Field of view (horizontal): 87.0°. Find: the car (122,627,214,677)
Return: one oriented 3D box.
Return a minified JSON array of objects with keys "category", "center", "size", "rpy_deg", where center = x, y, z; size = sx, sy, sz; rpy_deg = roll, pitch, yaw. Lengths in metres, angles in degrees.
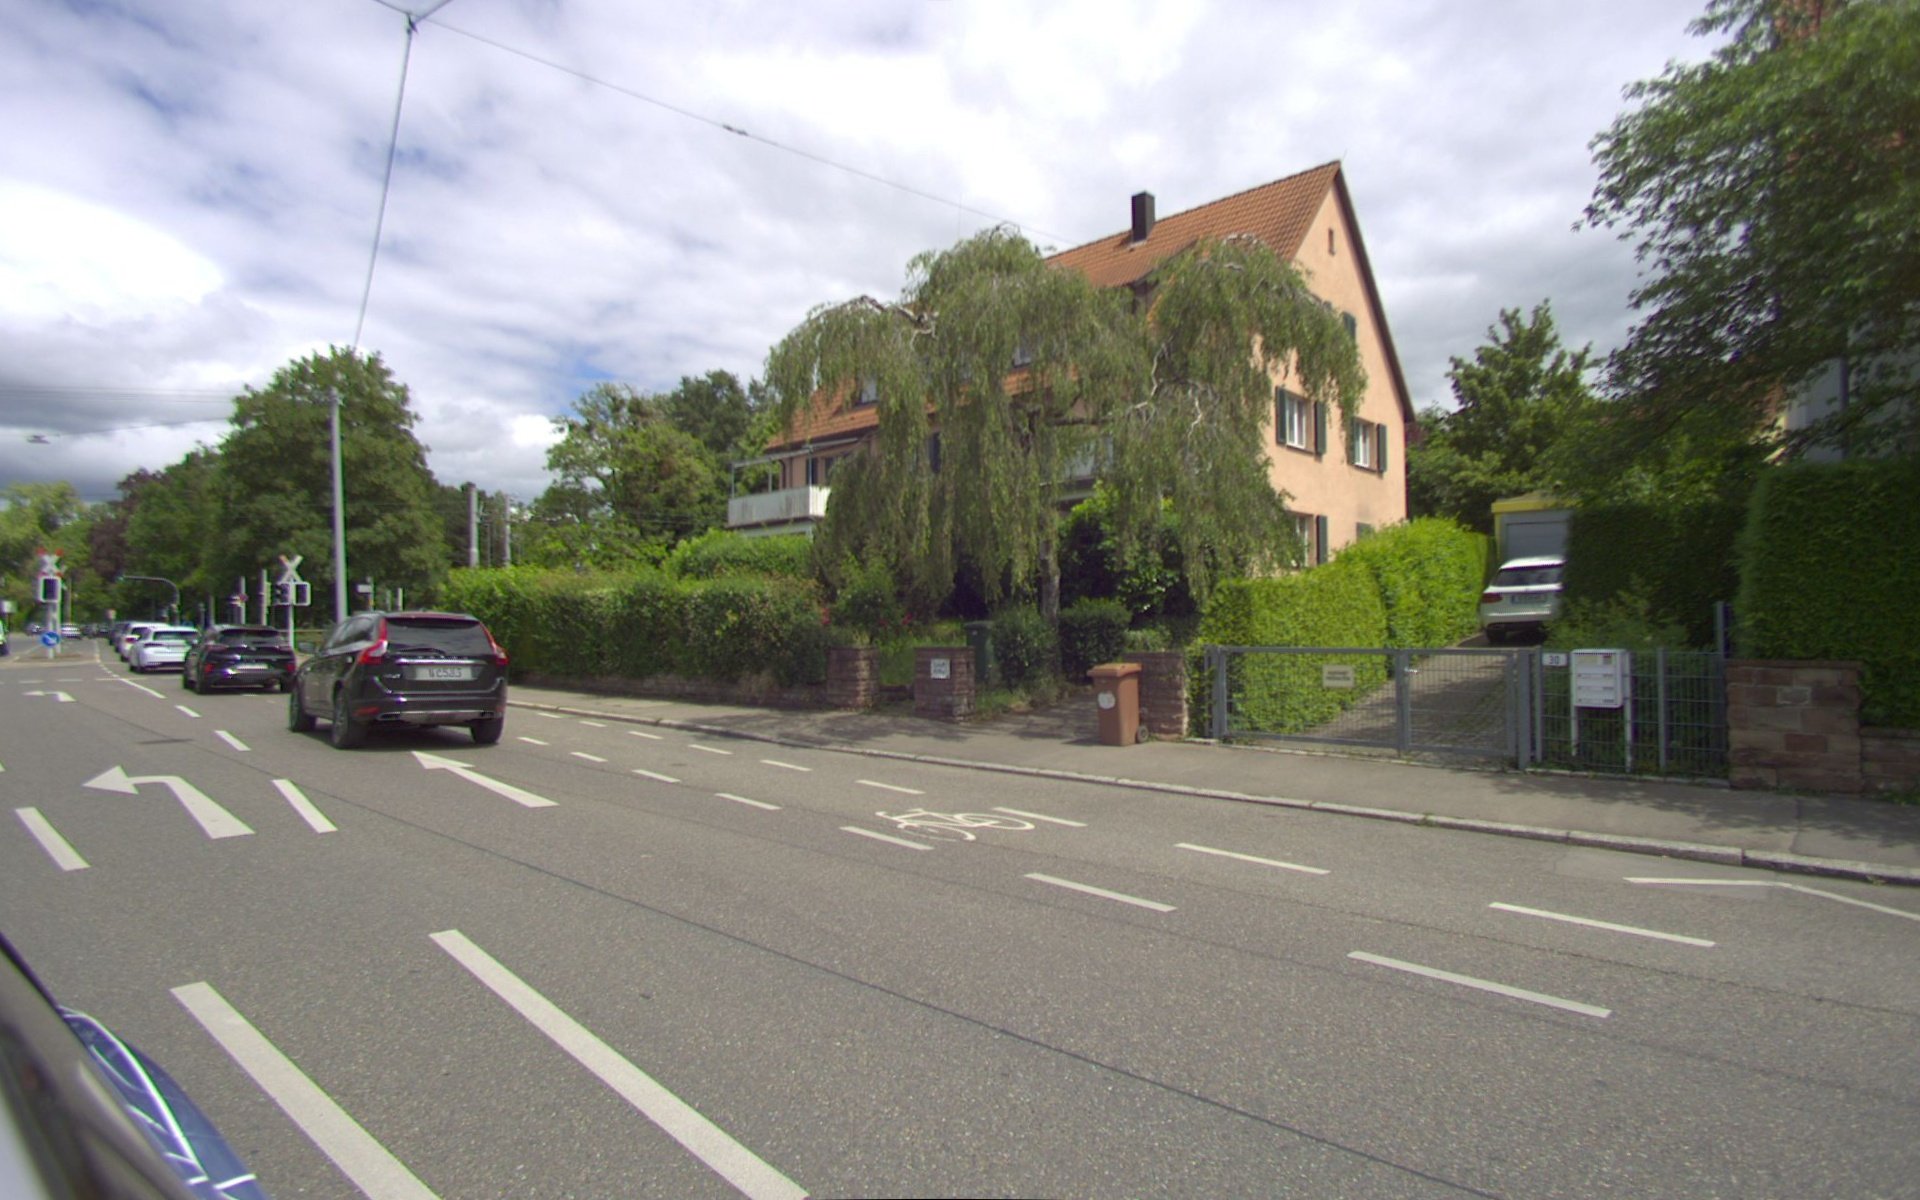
[{"category":"car","center":[-25.153,1.593,32.080],"size":[1.854,1.487,4.446],"rpy_deg":[2,-2,-44]}]

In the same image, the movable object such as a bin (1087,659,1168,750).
[{"category":"movable object such as a bin","center":[1.929,1.183,11.636],"size":[0.645,0.952,0.669],"rpy_deg":[-2,-1,42]}]

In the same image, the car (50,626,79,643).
[{"category":"car","center":[-78.944,3.015,89.211],"size":[1.905,1.431,4.005],"rpy_deg":[-1,0,-42]}]

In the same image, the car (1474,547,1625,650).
[{"category":"car","center":[10.786,-0.083,18.392],"size":[1.725,1.563,3.948],"rpy_deg":[-2,3,39]}]

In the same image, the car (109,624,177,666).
[{"category":"car","center":[-33.066,1.766,40.919],"size":[1.825,1.587,4.163],"rpy_deg":[0,-1,-44]}]

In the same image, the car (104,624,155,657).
[{"category":"car","center":[-44.166,2.126,53.793],"size":[1.776,1.604,4.003],"rpy_deg":[-1,0,-44]}]

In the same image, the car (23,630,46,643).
[{"category":"car","center":[-108.267,4.260,118.388],"size":[1.905,1.431,4.005],"rpy_deg":[-1,0,-42]}]

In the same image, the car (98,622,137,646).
[{"category":"car","center":[-58.038,2.322,69.712],"size":[1.759,1.597,4.003],"rpy_deg":[1,-2,-44]}]

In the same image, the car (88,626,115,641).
[{"category":"car","center":[-83.762,3.261,98.726],"size":[1.905,1.431,4.005],"rpy_deg":[-1,0,-42]}]

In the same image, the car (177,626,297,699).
[{"category":"car","center":[-16.360,1.345,22.821],"size":[1.677,1.467,4.120],"rpy_deg":[3,-3,-43]}]

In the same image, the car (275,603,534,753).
[{"category":"car","center":[-7.483,0.984,13.438],"size":[1.893,1.661,4.297],"rpy_deg":[6,-6,-43]}]
